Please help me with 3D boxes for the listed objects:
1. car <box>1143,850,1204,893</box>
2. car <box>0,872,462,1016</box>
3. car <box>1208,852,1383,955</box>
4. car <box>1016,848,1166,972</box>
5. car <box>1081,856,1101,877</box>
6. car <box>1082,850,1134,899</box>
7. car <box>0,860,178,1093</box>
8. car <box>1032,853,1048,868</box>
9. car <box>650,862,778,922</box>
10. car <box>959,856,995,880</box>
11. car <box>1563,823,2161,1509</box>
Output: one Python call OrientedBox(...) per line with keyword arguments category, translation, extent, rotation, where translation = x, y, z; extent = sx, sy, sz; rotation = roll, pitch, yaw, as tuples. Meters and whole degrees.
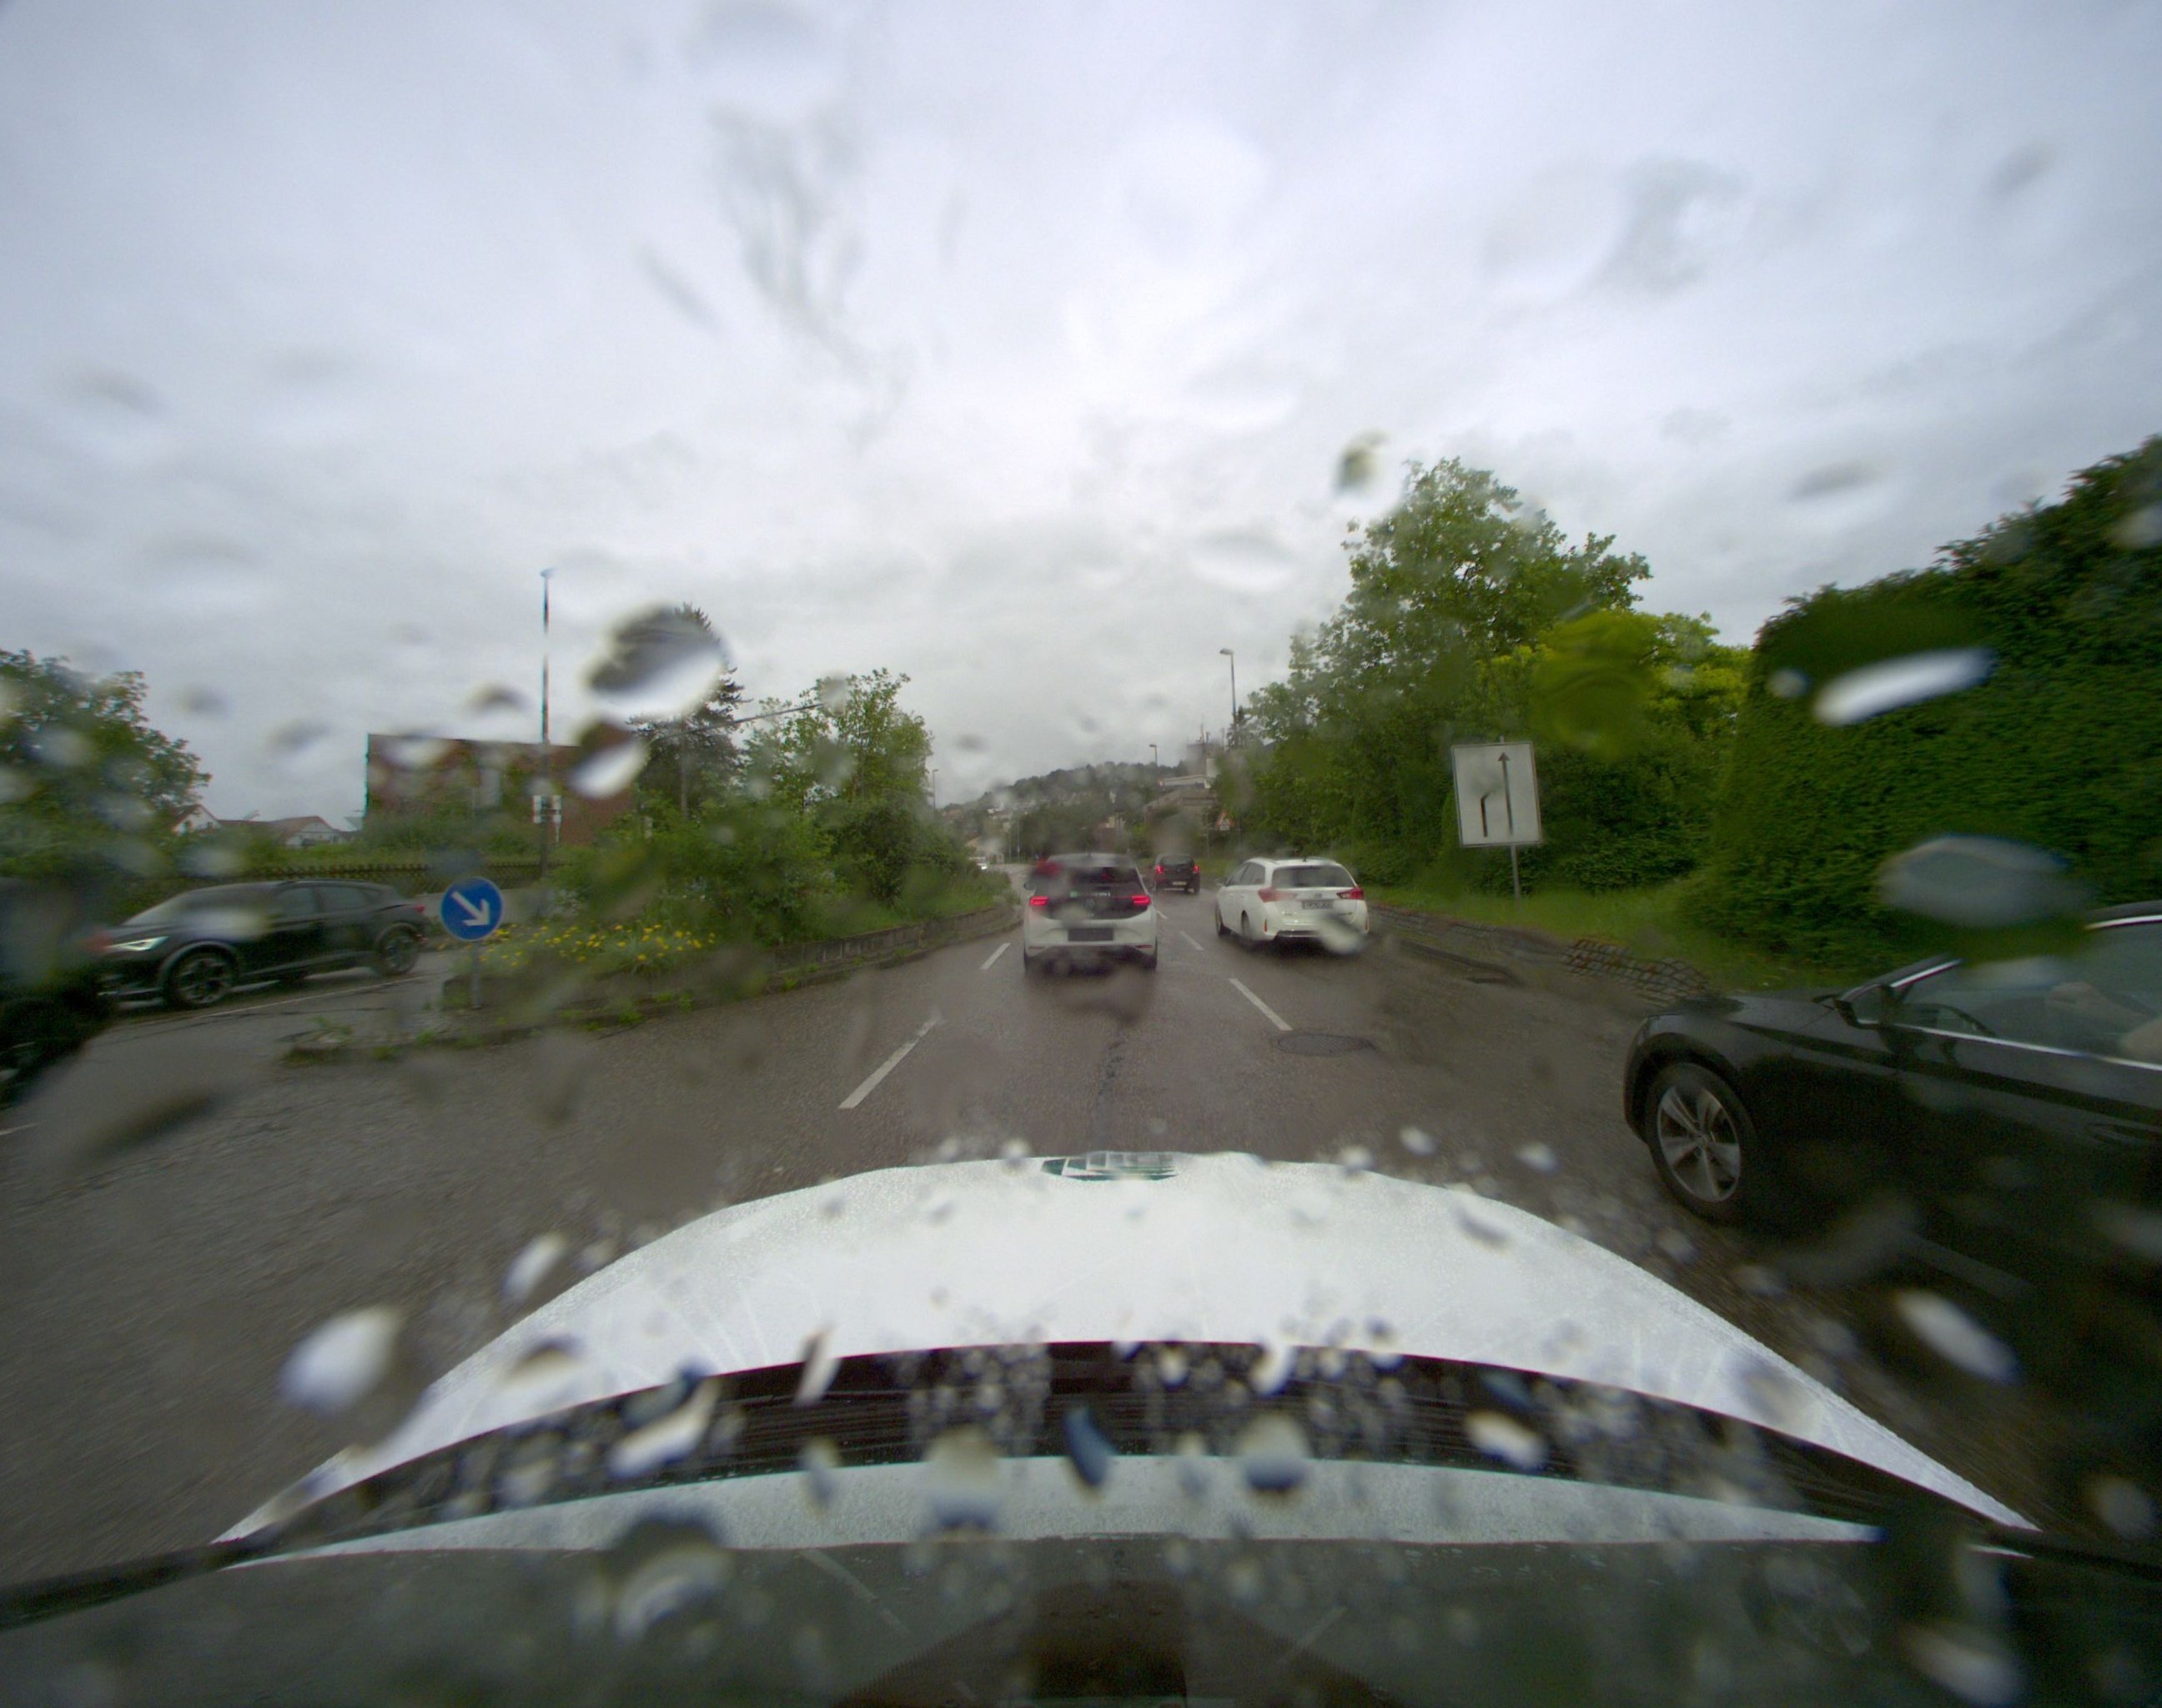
OrientedBox(category="car", translation=(3.514, 0.655, 31.604), extent=(1.986, 1.453, 3.772), rotation=(-4, -1, 1))
OrientedBox(category="car", translation=(-11.310, 1.067, 11.332), extent=(1.943, 1.478, 4.297), rotation=(-4, -1, 2))
OrientedBox(category="car", translation=(3.334, 0.731, 13.552), extent=(1.841, 1.410, 4.302), rotation=(-1, -1, 1))
OrientedBox(category="car", translation=(0.188, 0.723, 12.108), extent=(1.822, 1.500, 4.169), rotation=(-1, -1, 2))
OrientedBox(category="car", translation=(1.033, 1.247, 81.565), extent=(1.986, 2.014, 4.001), rotation=(0, -1, 2))
OrientedBox(category="car", translation=(0.843, 0.642, 27.755), extent=(1.562, 1.530, 3.998), rotation=(-1, 0, -1))
OrientedBox(category="car", translation=(-8.192, 0.839, 4.455), extent=(1.896, 1.552, 4.075), rotation=(-2, -1, 1))
OrientedBox(category="car", translation=(-5.661, 0.867, 112.333), extent=(1.987, 2.014, 3.998), rotation=(0, -1, 0))
OrientedBox(category="car", translation=(-10.997, 1.094, 24.771), extent=(1.987, 1.578, 4.000), rotation=(-2, 0, 0))
OrientedBox(category="car", translation=(-7.956, 1.057, 62.684), extent=(1.987, 1.662, 4.598), rotation=(-2, 0, 1))
OrientedBox(category="car", translation=(3.363, 0.705, 1.827), extent=(1.947, 1.507, 4.609), rotation=(1, -1, 1))
